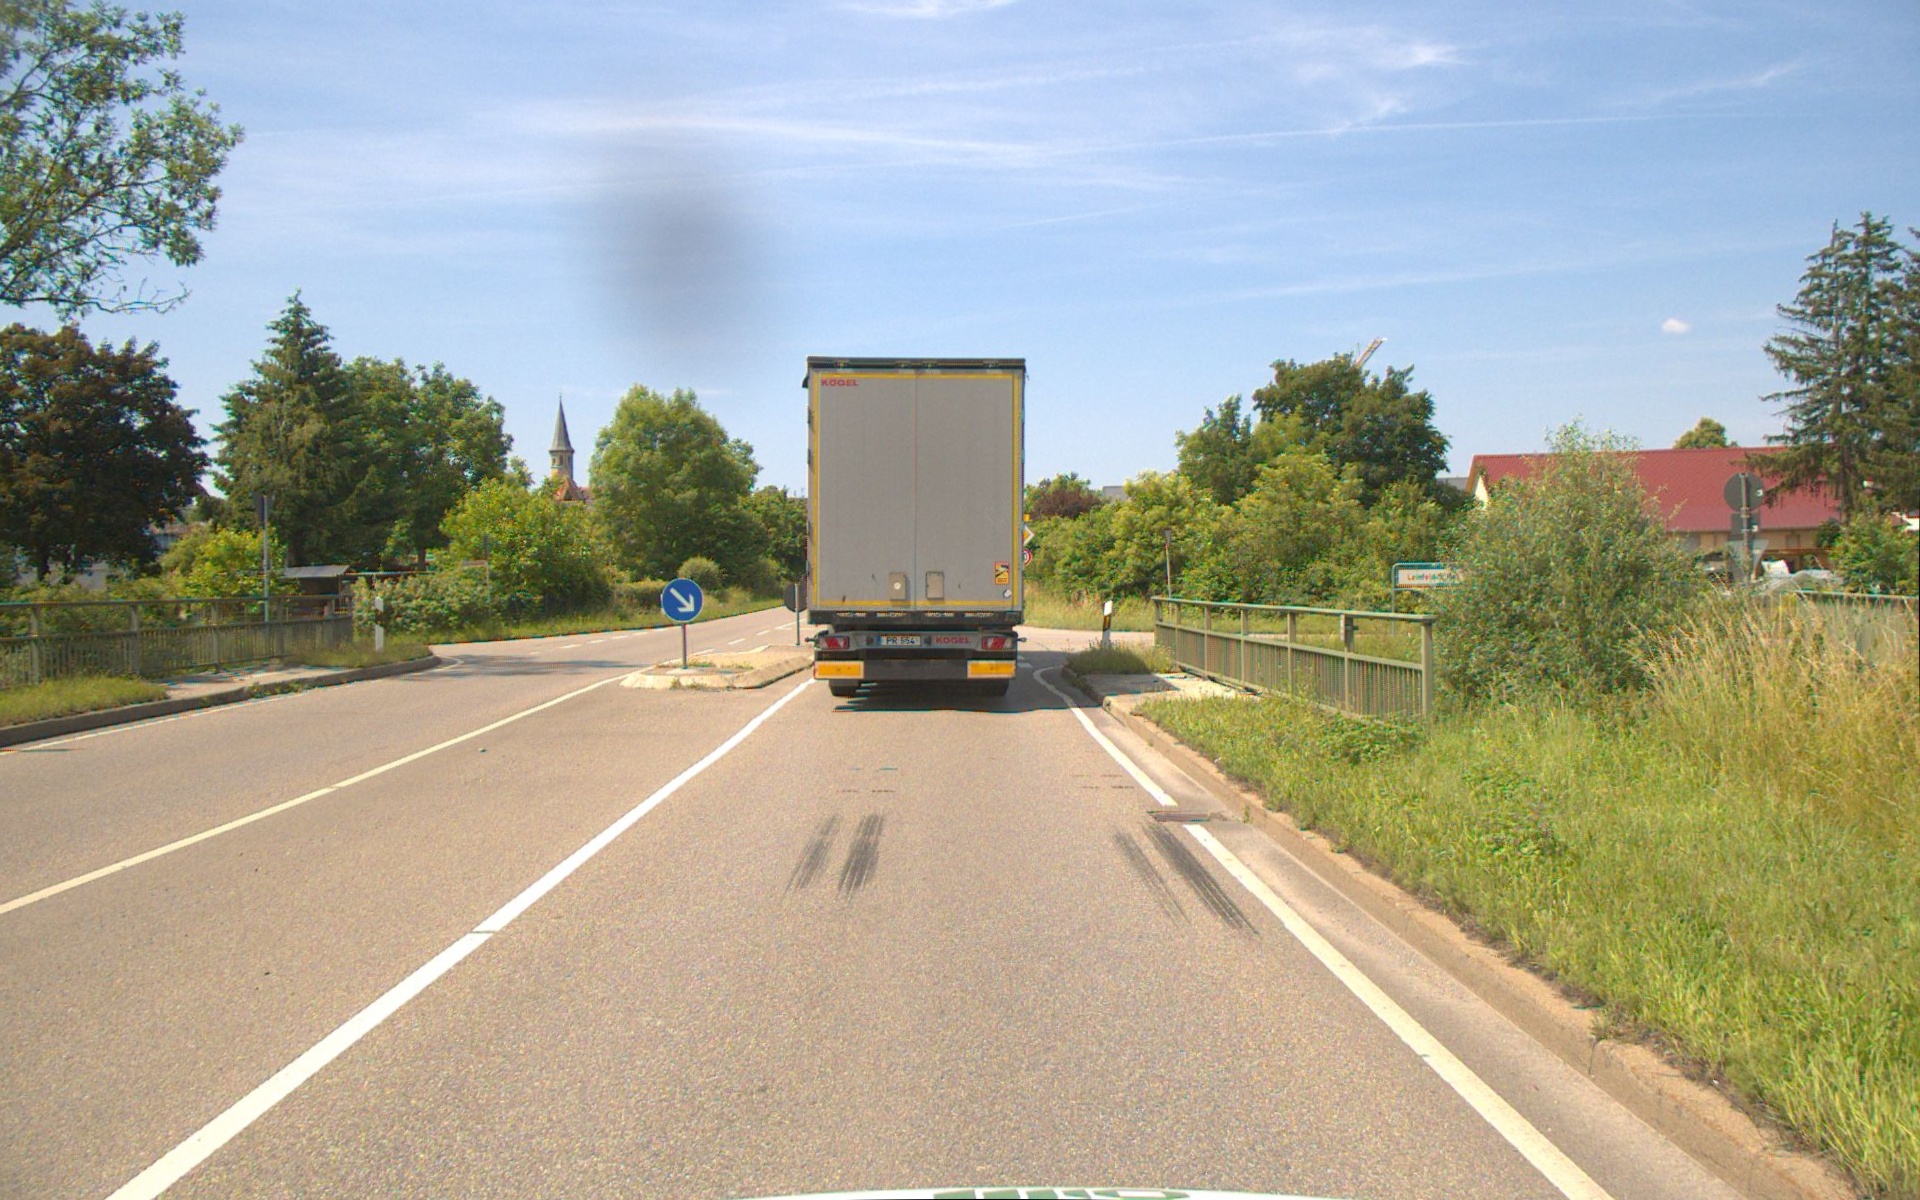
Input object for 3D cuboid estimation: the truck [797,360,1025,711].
[{"bbox_3d":[-0.738,-0.820,23.290,2.594,3.985,8.821,0,1,-2],"label":"truck"}]
